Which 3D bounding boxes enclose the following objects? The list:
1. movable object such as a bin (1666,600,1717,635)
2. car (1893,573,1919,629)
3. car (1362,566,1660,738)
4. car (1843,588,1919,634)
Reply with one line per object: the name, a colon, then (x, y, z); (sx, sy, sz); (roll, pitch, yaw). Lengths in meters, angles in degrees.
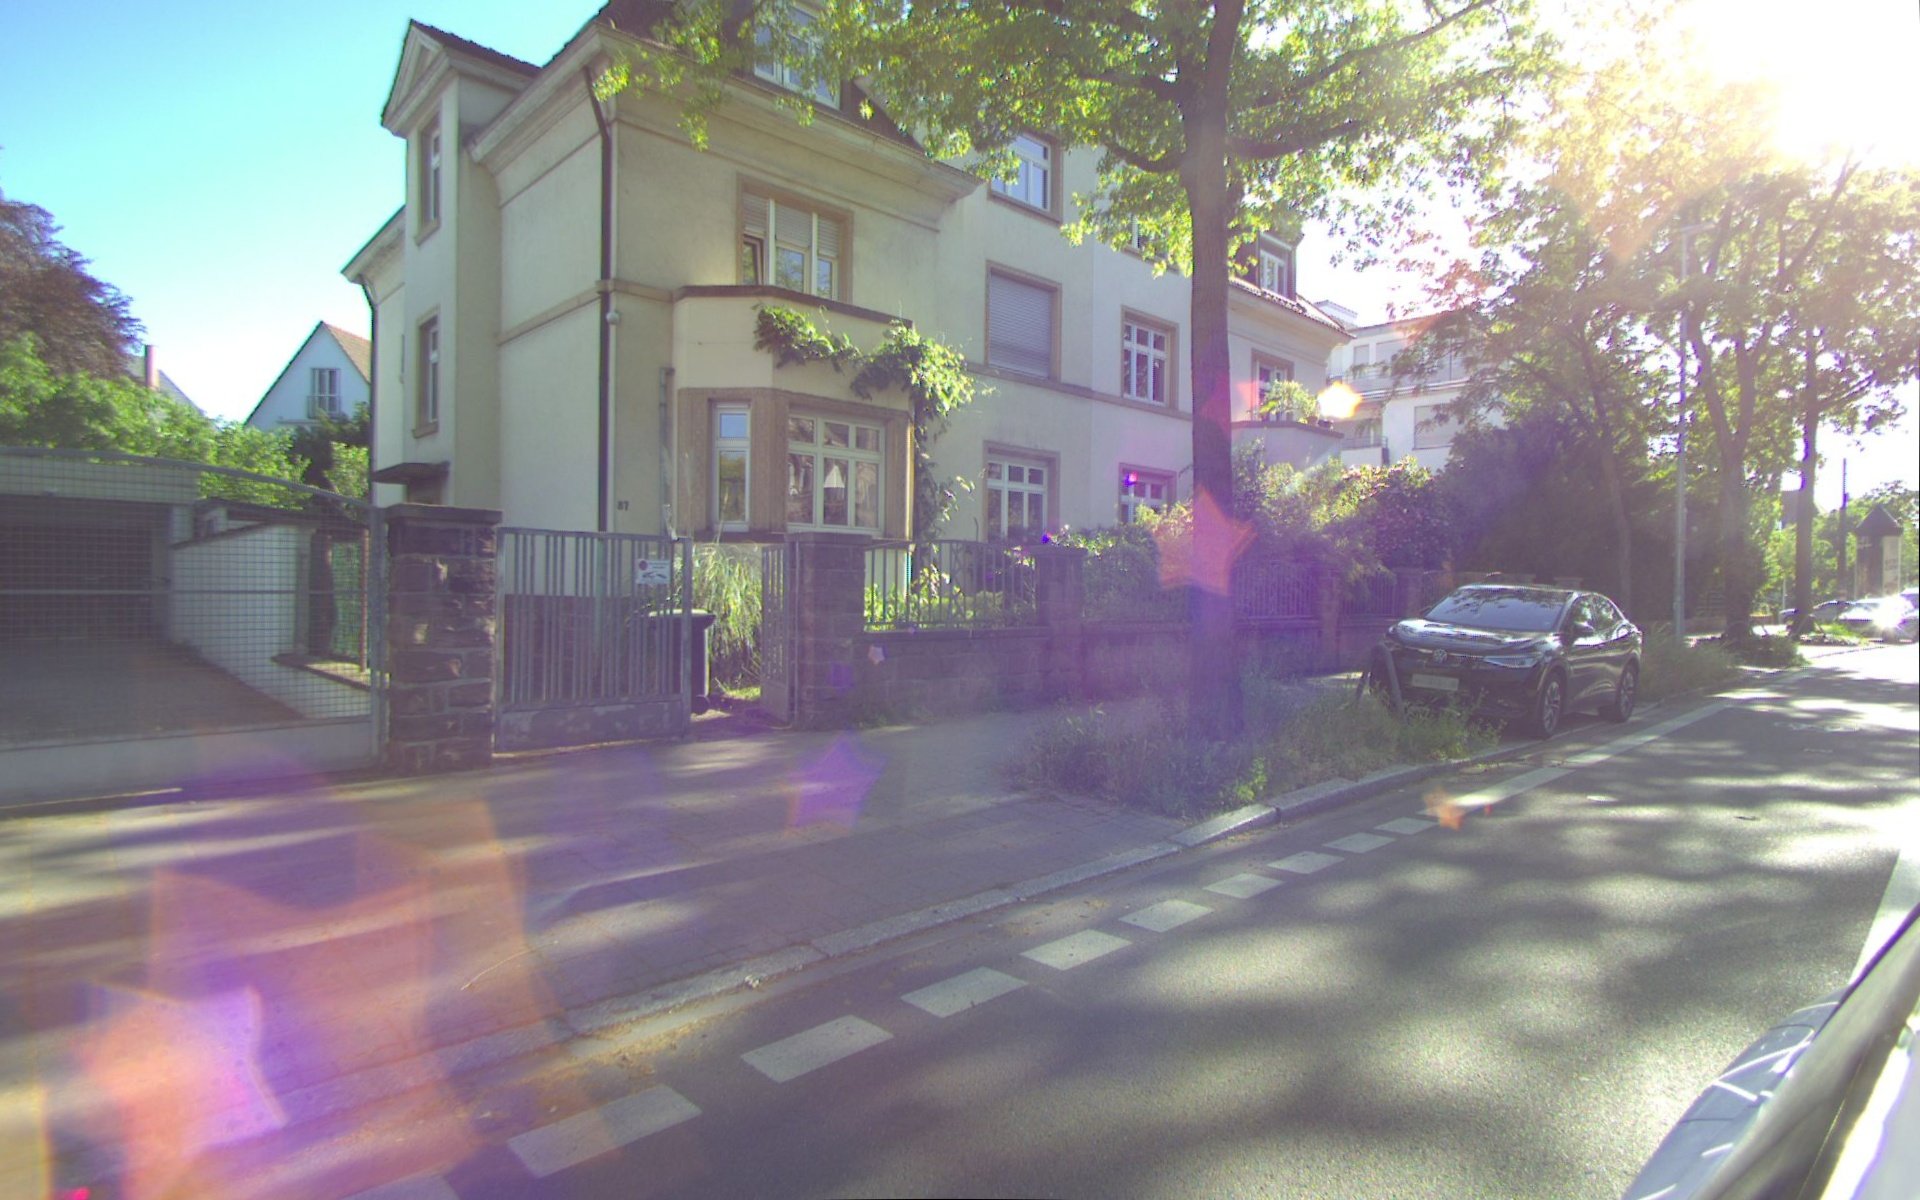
movable object such as a bin: (22.872, 0.540, 31.649); (0.697, 1.070, 1.093); (0, 0, -20)
car: (36.797, 0.051, 38.076); (4.503, 2.039, 1.997); (0, 1, -41)
car: (6.670, 0.494, 12.074); (4.020, 1.626, 1.743); (0, 4, -41)
car: (31.562, 0.339, 34.415); (3.930, 1.469, 1.785); (0, 1, -41)
